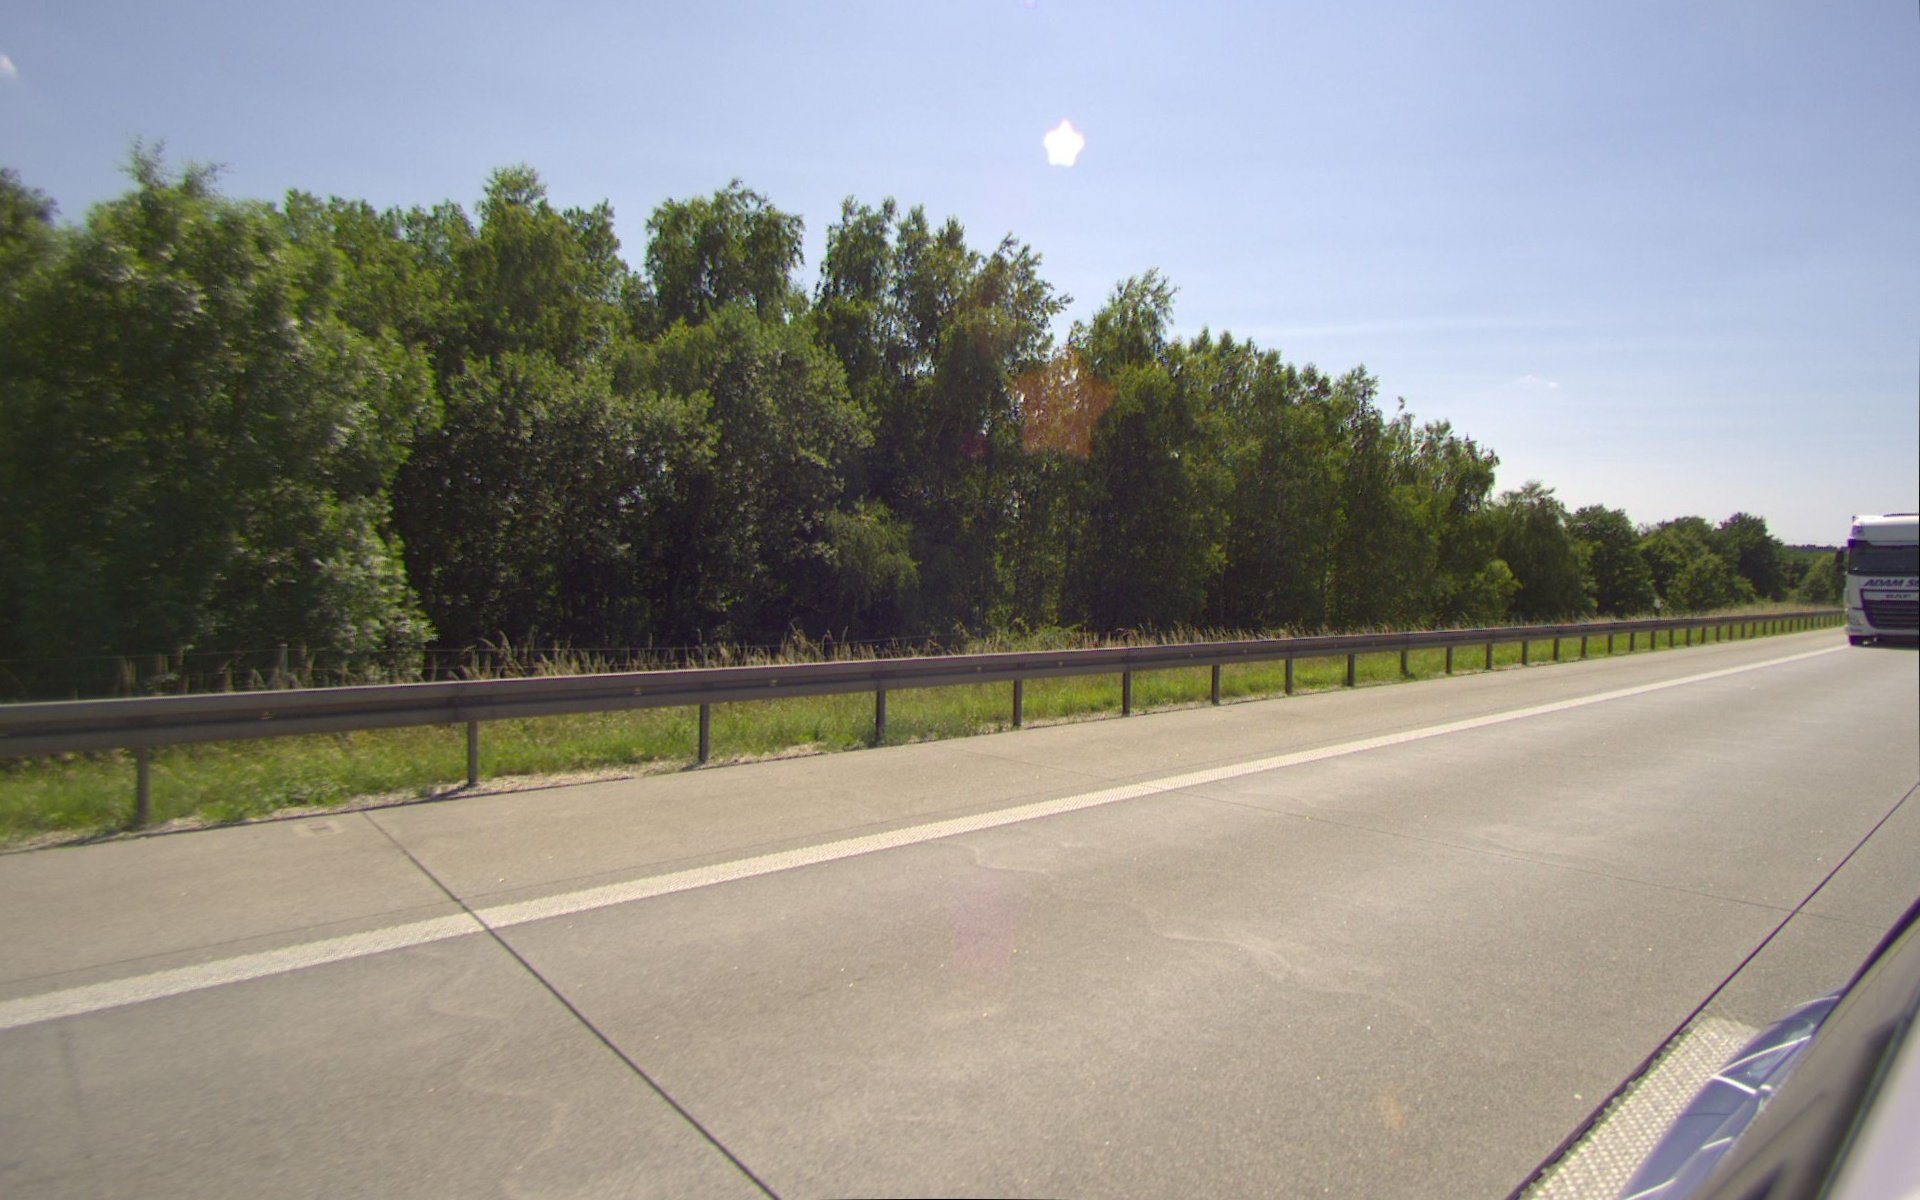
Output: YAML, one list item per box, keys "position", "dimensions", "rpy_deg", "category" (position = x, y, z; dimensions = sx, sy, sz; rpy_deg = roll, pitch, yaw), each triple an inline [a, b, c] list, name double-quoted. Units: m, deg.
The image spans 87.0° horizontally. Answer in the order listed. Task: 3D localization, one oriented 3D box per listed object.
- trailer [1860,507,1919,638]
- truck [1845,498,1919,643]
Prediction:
- position: [34.749, -0.898, 35.946]
  dimensions: [12.496, 4.093, 2.856]
  rpy_deg: [0, 1, -42]
  category: "trailer"
- position: [29.497, -0.861, 31.093]
  dimensions: [5.699, 4.139, 2.816]
  rpy_deg: [0, 1, -42]
  category: "truck"
